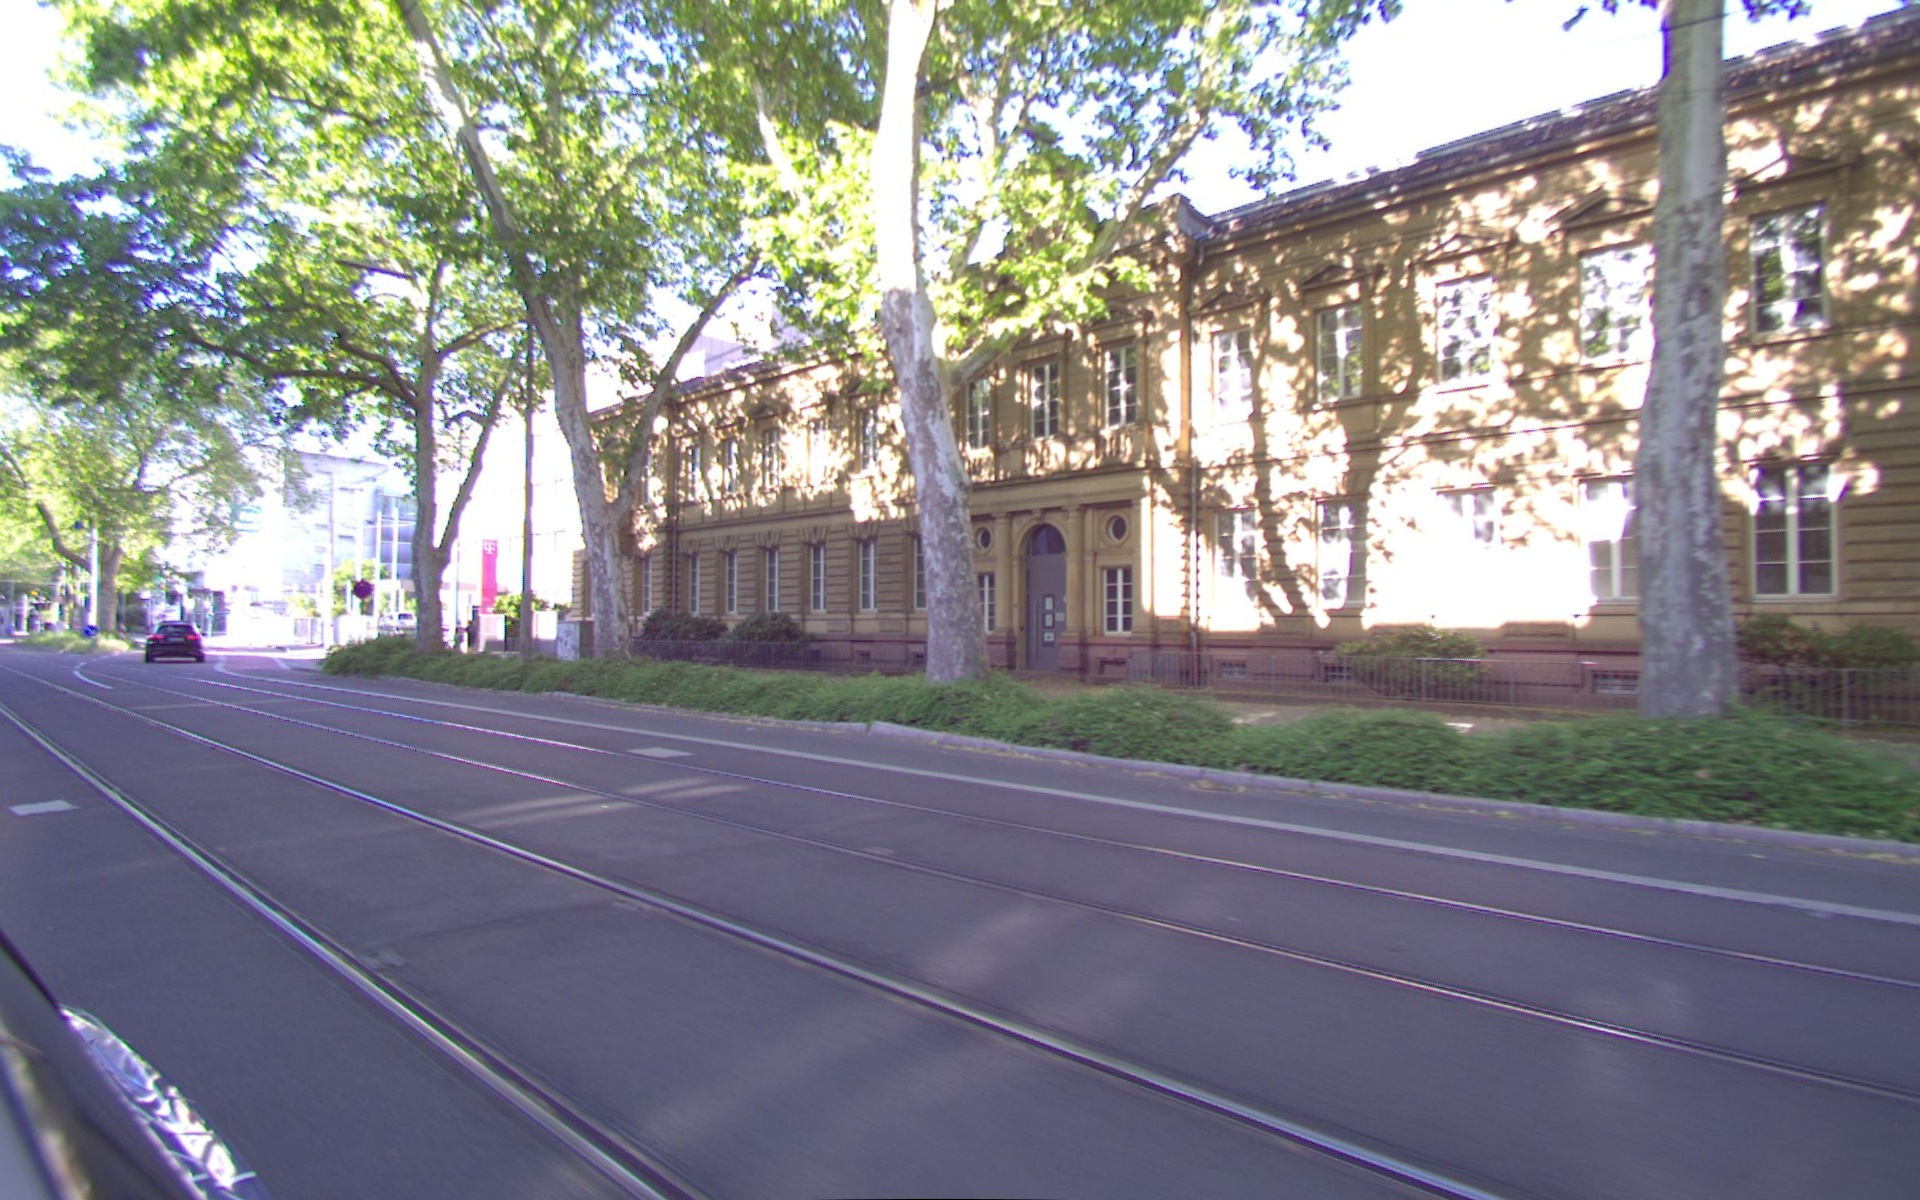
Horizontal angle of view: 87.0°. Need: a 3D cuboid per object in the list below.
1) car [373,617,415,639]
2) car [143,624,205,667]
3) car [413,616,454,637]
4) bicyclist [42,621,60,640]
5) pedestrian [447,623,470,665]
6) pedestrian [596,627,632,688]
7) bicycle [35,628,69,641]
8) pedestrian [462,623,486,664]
[{"bbox_3d":[-47.850,2.369,85.532,3.999,1.831,1.828,-1,-2,42],"label":"car"},{"bbox_3d":[-31.892,1.844,41.157,1.842,1.642,4.570,2,-3,-36],"label":"car"},{"bbox_3d":[-45.411,2.325,87.241,3.999,1.765,1.828,-1,-2,42],"label":"car"},{"bbox_3d":[-76.352,2.539,84.989,0.759,1.588,0.995,-1,-2,39],"label":"bicyclist"},{"bbox_3d":[-20.941,1.826,42.277,0.655,1.710,0.628,-1,-2,34],"label":"pedestrian"},{"bbox_3d":[-10.687,1.757,31.293,0.837,1.863,0.711,-1,-2,40],"label":"pedestrian"},{"bbox_3d":[-76.287,2.883,85.043,0.759,1.137,2.056,-1,-2,39],"label":"bicycle"},{"bbox_3d":[-20.565,1.840,42.845,0.660,1.710,0.665,-1,-2,34],"label":"pedestrian"}]
